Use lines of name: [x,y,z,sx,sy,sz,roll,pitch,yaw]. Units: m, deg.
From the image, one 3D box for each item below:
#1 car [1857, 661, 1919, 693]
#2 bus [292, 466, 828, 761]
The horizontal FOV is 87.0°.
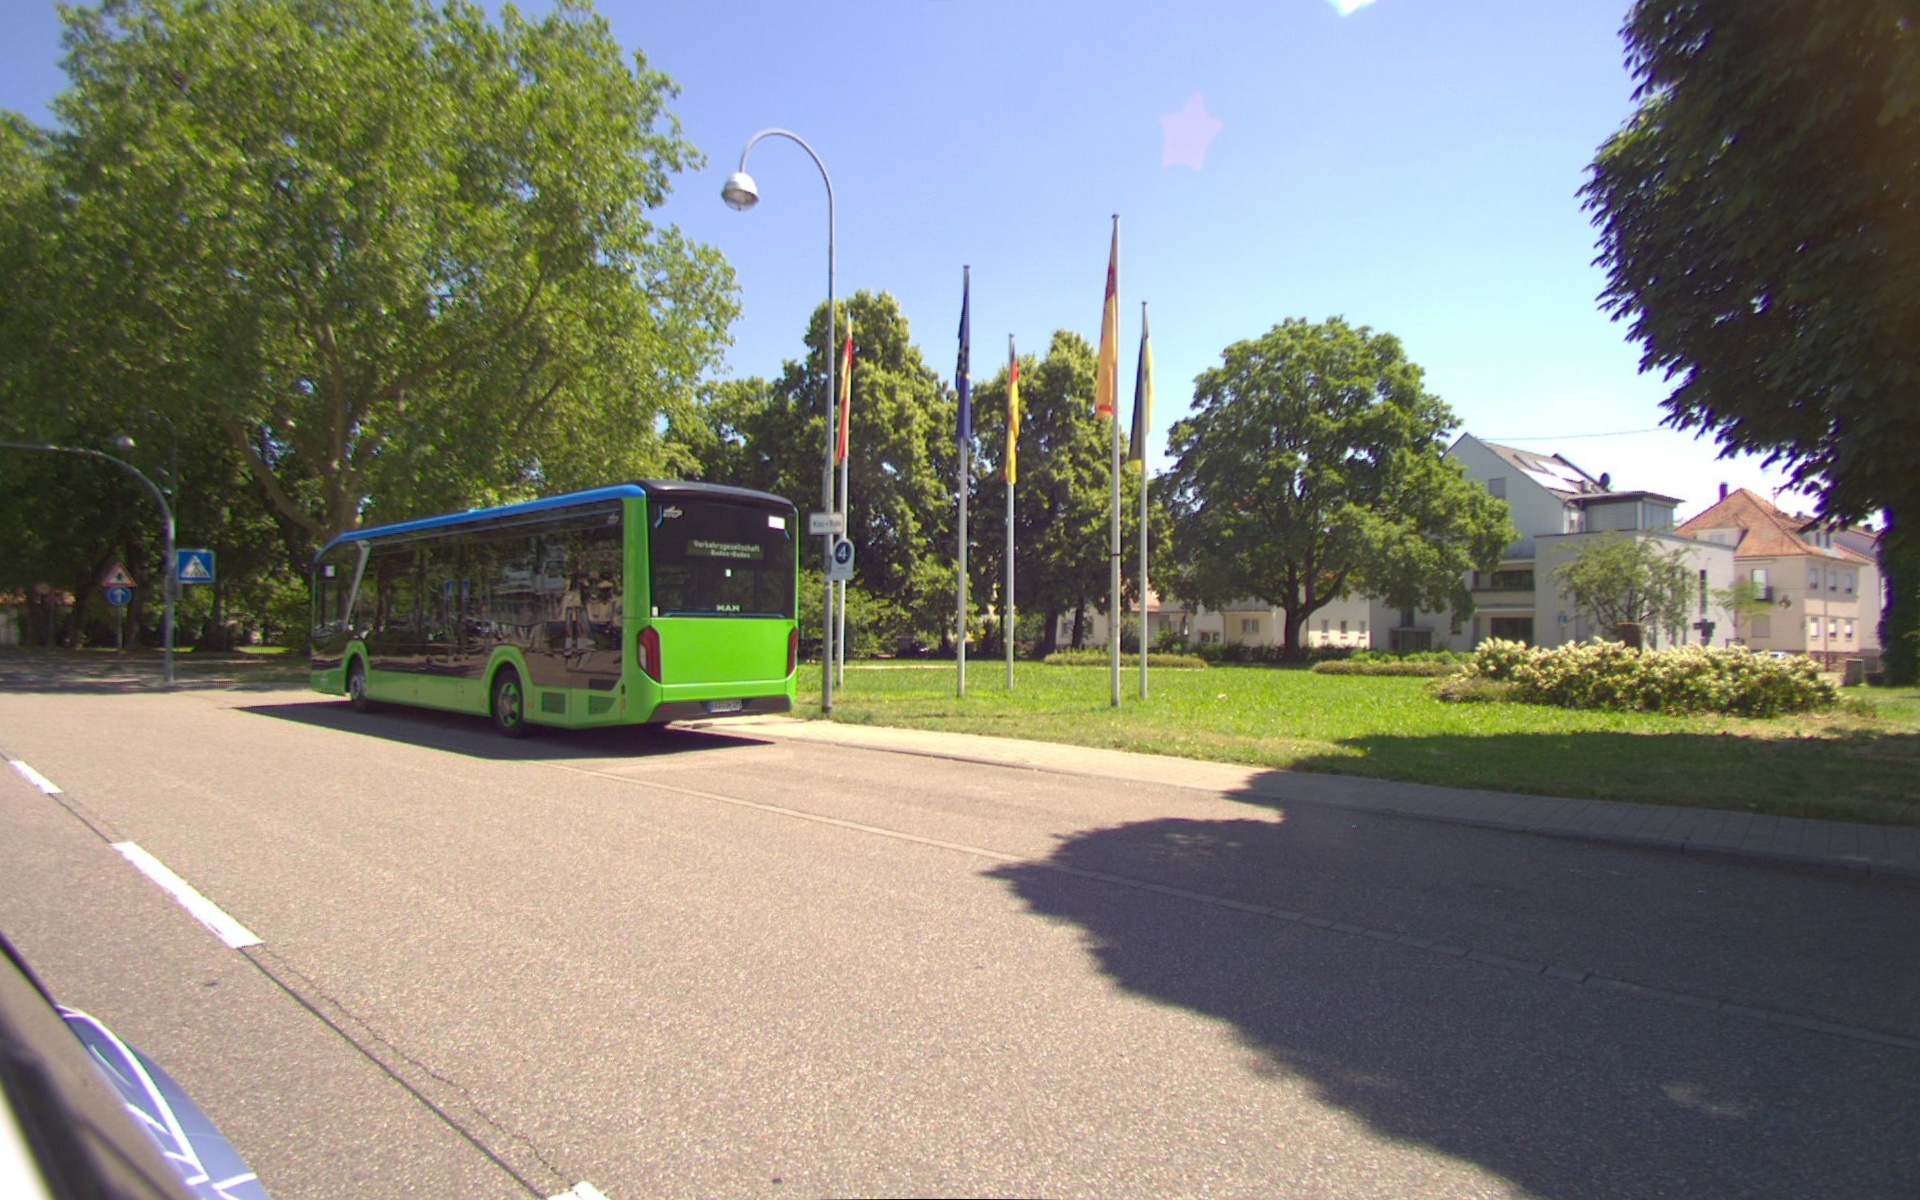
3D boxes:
car: [42.883,3.495,46.342,3.978,1.360,1.642,2,-3,-33]
bus: [-7.319,0.315,16.509,12.420,3.308,2.779,-2,-3,42]
